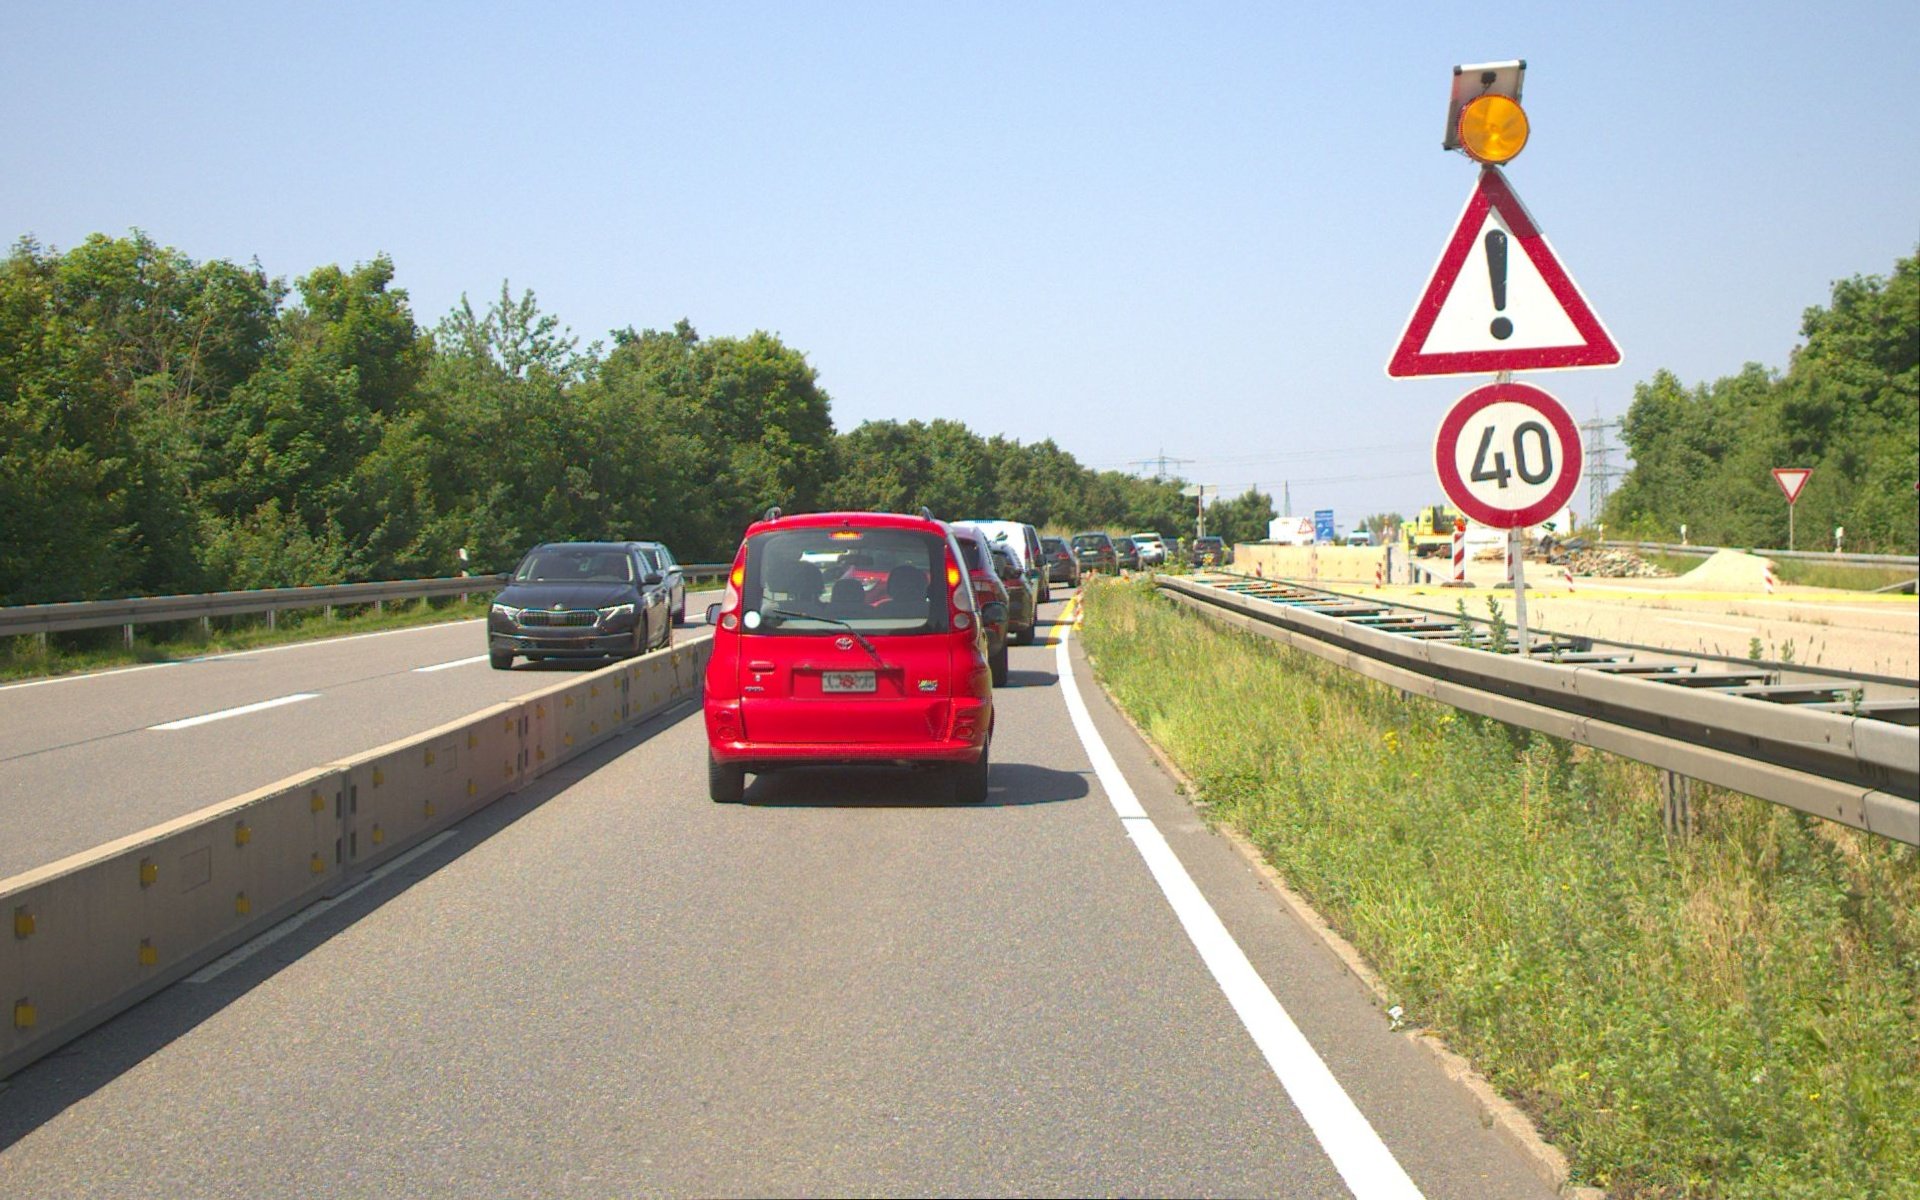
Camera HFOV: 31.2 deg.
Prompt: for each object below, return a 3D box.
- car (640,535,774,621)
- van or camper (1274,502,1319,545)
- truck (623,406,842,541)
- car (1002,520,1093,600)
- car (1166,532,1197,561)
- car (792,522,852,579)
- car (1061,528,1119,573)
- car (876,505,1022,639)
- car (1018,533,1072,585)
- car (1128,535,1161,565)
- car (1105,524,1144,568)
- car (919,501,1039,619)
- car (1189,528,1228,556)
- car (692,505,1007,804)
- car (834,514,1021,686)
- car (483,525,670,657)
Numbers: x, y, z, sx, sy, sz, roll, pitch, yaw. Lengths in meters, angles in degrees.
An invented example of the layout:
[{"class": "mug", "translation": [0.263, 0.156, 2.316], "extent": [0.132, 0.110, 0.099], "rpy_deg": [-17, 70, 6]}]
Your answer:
[{"class": "car", "translation": [-4.352, -0.404, 59.636], "extent": [1.949, 1.417, 4.353], "rpy_deg": [-1, 1, 1]}, {"class": "van or camper", "translation": [21.814, -4.945, 222.926], "extent": [2.328, 2.697, 4.593], "rpy_deg": [-1, 1, -1]}, {"class": "truck", "translation": [-9.441, -5.260, 143.403], "extent": [8.621, 5.357, 3.389], "rpy_deg": [-1, 1, 3]}, {"class": "car", "translation": [1.956, -0.925, 77.914], "extent": [1.993, 1.744, 4.000], "rpy_deg": [0, 1, 1]}, {"class": "car", "translation": [10.963, -2.655, 170.091], "extent": [1.502, 1.446, 3.170], "rpy_deg": [0, 1, 4]}, {"class": "car", "translation": [-4.396, -1.595, 109.706], "extent": [1.755, 1.759, 4.285], "rpy_deg": [-1, 1, -1]}, {"class": "car", "translation": [4.642, -1.759, 122.502], "extent": [1.994, 1.579, 4.000], "rpy_deg": [0, 1, 3]}, {"class": "car", "translation": [-0.118, -0.403, 49.541], "extent": [1.993, 1.831, 4.000], "rpy_deg": [-1, 1, 1]}, {"class": "car", "translation": [2.414, -1.179, 97.812], "extent": [1.502, 1.446, 3.325], "rpy_deg": [0, 1, 1]}, {"class": "car", "translation": [8.266, -2.244, 154.066], "extent": [1.421, 1.294, 2.879], "rpy_deg": [0, 1, 4]}, {"class": "car", "translation": [6.601, -2.161, 138.201], "extent": [1.502, 1.730, 3.170], "rpy_deg": [0, 1, 2]}, {"class": "car", "translation": [0.305, -0.720, 61.047], "extent": [1.993, 1.997, 4.000], "rpy_deg": [0, 1, -1]}, {"class": "car", "translation": [13.997, -3.279, 193.715], "extent": [1.993, 1.546, 4.000], "rpy_deg": [0, 1, 1]}, {"class": "car", "translation": [-0.623, 0.270, 21.148], "extent": [1.751, 1.667, 4.000], "rpy_deg": [0, 1, 0]}, {"class": "car", "translation": [-0.292, -0.040, 36.476], "extent": [1.830, 1.716, 4.000], "rpy_deg": [0, 1, 2]}, {"class": "car", "translation": [-4.524, -0.145, 41.048], "extent": [1.822, 1.477, 4.257], "rpy_deg": [-1, 1, -1]}]
